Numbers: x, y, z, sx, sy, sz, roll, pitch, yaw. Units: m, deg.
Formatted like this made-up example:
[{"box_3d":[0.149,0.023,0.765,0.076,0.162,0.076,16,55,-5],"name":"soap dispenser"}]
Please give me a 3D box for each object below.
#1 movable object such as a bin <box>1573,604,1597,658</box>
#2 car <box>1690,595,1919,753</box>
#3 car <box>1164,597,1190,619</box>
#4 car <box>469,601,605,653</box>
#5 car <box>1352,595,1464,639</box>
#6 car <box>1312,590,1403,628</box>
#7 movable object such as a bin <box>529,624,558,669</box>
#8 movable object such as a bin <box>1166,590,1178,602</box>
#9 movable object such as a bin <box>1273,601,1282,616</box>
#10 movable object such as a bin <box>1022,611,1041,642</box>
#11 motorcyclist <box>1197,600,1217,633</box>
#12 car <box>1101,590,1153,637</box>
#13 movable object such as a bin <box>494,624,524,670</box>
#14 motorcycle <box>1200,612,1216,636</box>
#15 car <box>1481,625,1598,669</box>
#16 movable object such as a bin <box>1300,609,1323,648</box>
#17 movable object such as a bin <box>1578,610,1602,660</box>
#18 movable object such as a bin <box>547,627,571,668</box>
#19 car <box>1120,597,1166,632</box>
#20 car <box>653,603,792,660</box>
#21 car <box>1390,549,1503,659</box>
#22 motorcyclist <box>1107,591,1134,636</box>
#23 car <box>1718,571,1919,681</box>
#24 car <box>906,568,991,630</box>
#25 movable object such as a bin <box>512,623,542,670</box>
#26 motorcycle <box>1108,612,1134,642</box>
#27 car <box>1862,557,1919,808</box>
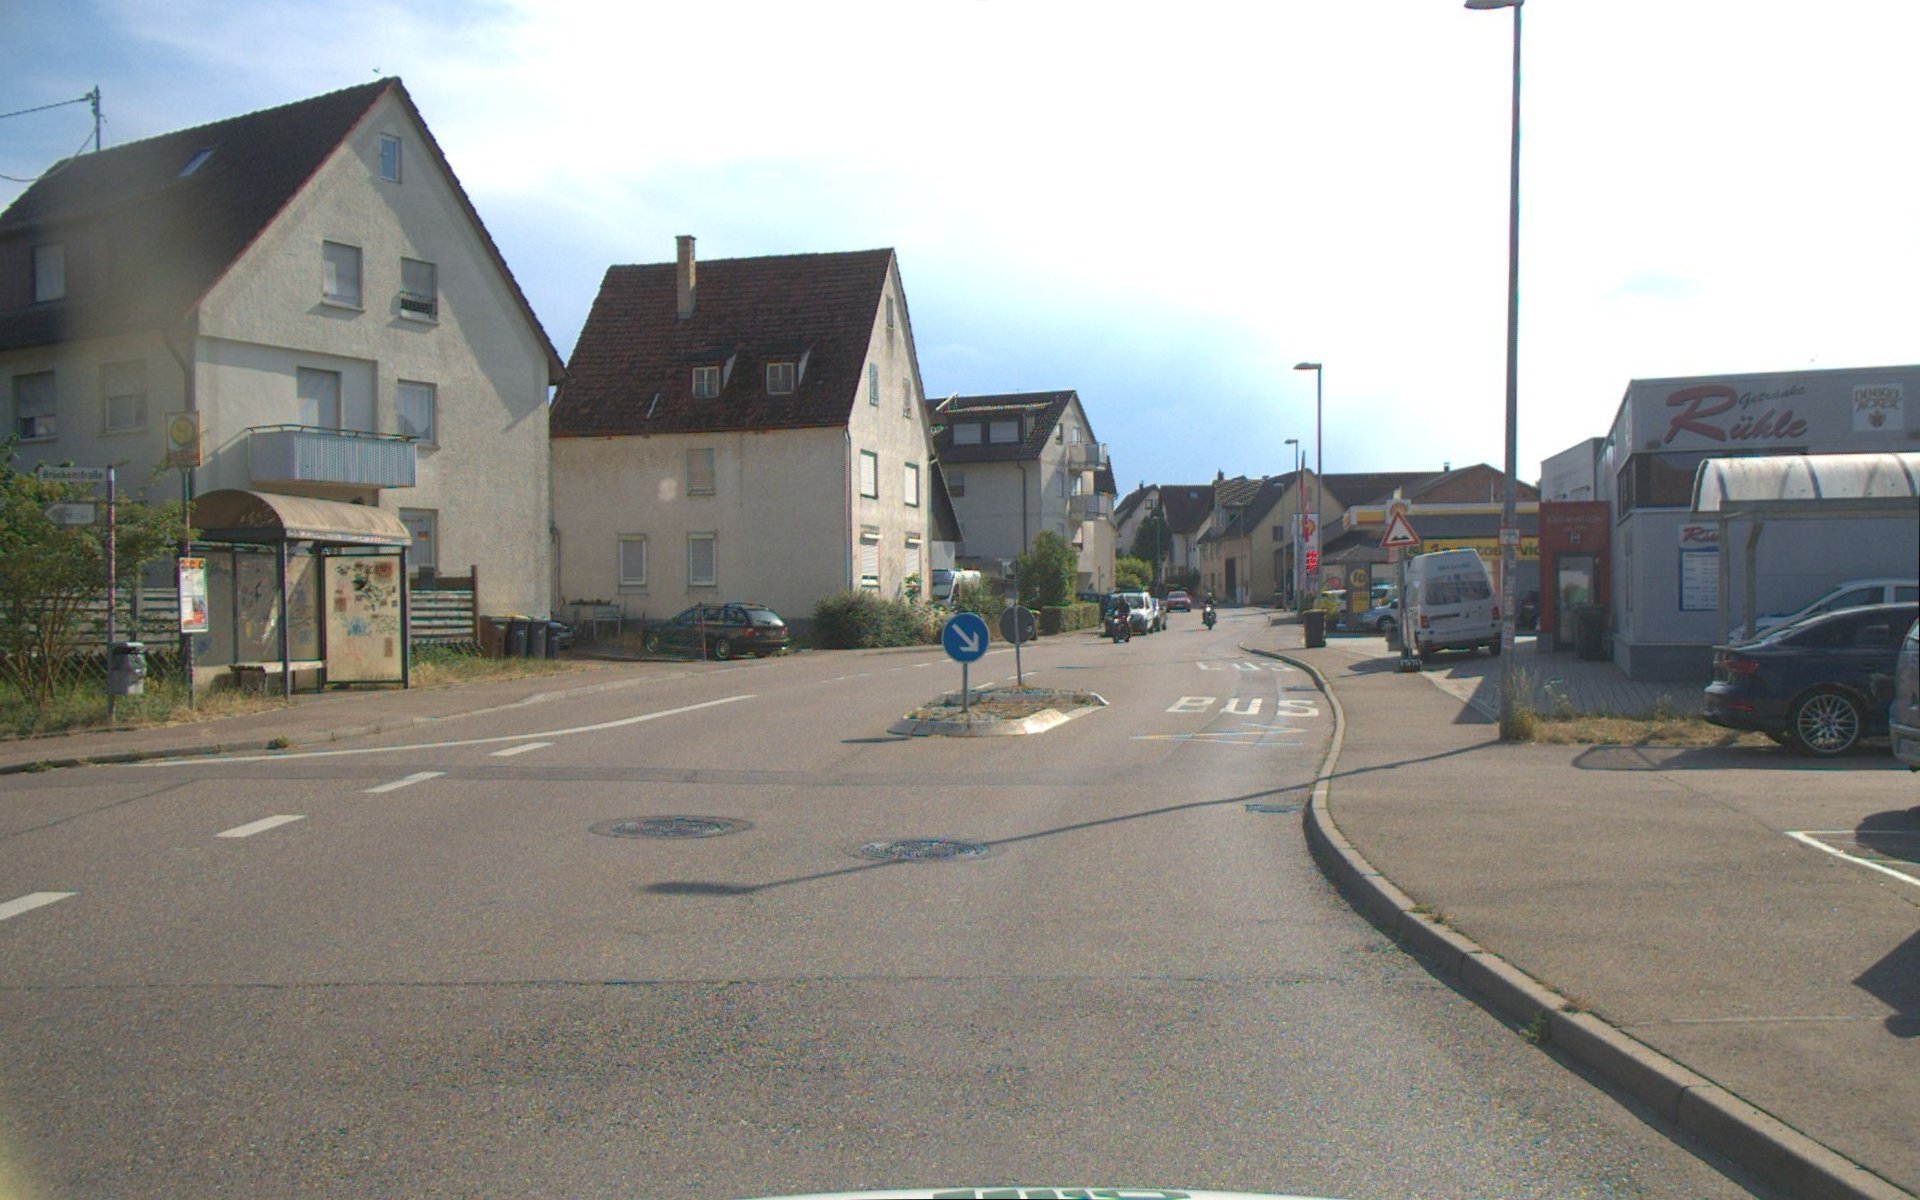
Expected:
[{"box_3d":[12.629,0.621,33.421,0.420,1.060,0.490,-1,0,19],"name":"movable object such as a bin"},{"box_3d":[9.371,0.668,16.013,3.978,1.441,1.626,-2,-1,17],"name":"car"},{"box_3d":[15.705,0.583,119.800,1.673,1.460,3.782,-2,0,5],"name":"car"},{"box_3d":[-12.284,0.757,47.953,3.918,1.384,1.681,1,1,34],"name":"car"},{"box_3d":[16.810,0.632,62.178,3.901,1.558,1.529,-1,0,10],"name":"car"},{"box_3d":[17.838,0.406,74.436,3.901,1.636,2.002,0,0,11],"name":"car"},{"box_3d":[-9.616,1.067,38.203,0.354,1.041,0.576,-1,-2,28],"name":"movable object such as a bin"},{"box_3d":[21.616,-0.433,168.747,1.137,1.189,0.655,-1,0,-1],"name":"movable object such as a bin"},{"box_3d":[22.740,0.626,118.402,0.639,1.092,0.513,-1,0,8],"name":"movable object such as a bin"},{"box_3d":[2.604,0.955,60.177,0.598,1.120,0.576,0,-1,12],"name":"movable object such as a bin"},{"box_3d":[11.164,0.721,74.657,0.785,1.461,1.037,1,0,13],"name":"motorcyclist"},{"box_3d":[7.133,0.539,70.336,1.680,1.905,4.196,-2,0,12],"name":"car"},{"box_3d":[-10.120,1.052,37.148,0.354,1.034,0.557,-1,-2,28],"name":"movable object such as a bin"},{"box_3d":[11.213,1.076,74.702,0.513,1.030,2.029,1,0,14],"name":"motorcycle"},{"box_3d":[21.426,1.744,61.305,3.821,1.493,1.718,-1,2,8],"name":"car"},{"box_3d":[10.188,0.829,47.938,0.555,1.094,0.573,-2,0,7],"name":"movable object such as a bin"},{"box_3d":[12.445,0.686,32.696,0.420,0.983,0.430,-1,0,19],"name":"movable object such as a bin"},{"box_3d":[-9.372,1.103,38.662,0.354,0.941,0.399,-1,-2,28],"name":"movable object such as a bin"},{"box_3d":[8.417,0.641,75.873,1.637,1.477,3.838,-1,0,12],"name":"car"},{"box_3d":[-6.642,0.837,46.131,3.925,1.458,1.645,1,1,40],"name":"car"},{"box_3d":[11.518,0.082,39.465,1.797,2.416,5.183,-1,0,8],"name":"car"},{"box_3d":[5.730,0.483,58.861,0.721,1.553,1.017,2,-1,17],"name":"motorcyclist"},{"box_3d":[13.138,0.365,24.311,3.482,1.482,1.498,-2,0,21],"name":"car"},{"box_3d":[-0.439,-0.077,73.741,2.113,2.641,6.098,0,1,16],"name":"car"},{"box_3d":[-9.856,1.059,37.652,0.354,1.059,0.557,-1,-2,28],"name":"movable object such as a bin"},{"box_3d":[5.740,0.944,58.954,0.527,1.030,2.029,1,0,16],"name":"motorcycle"},{"box_3d":[8.159,0.507,10.559,3.855,1.631,1.684,-1,-1,12],"name":"car"}]
